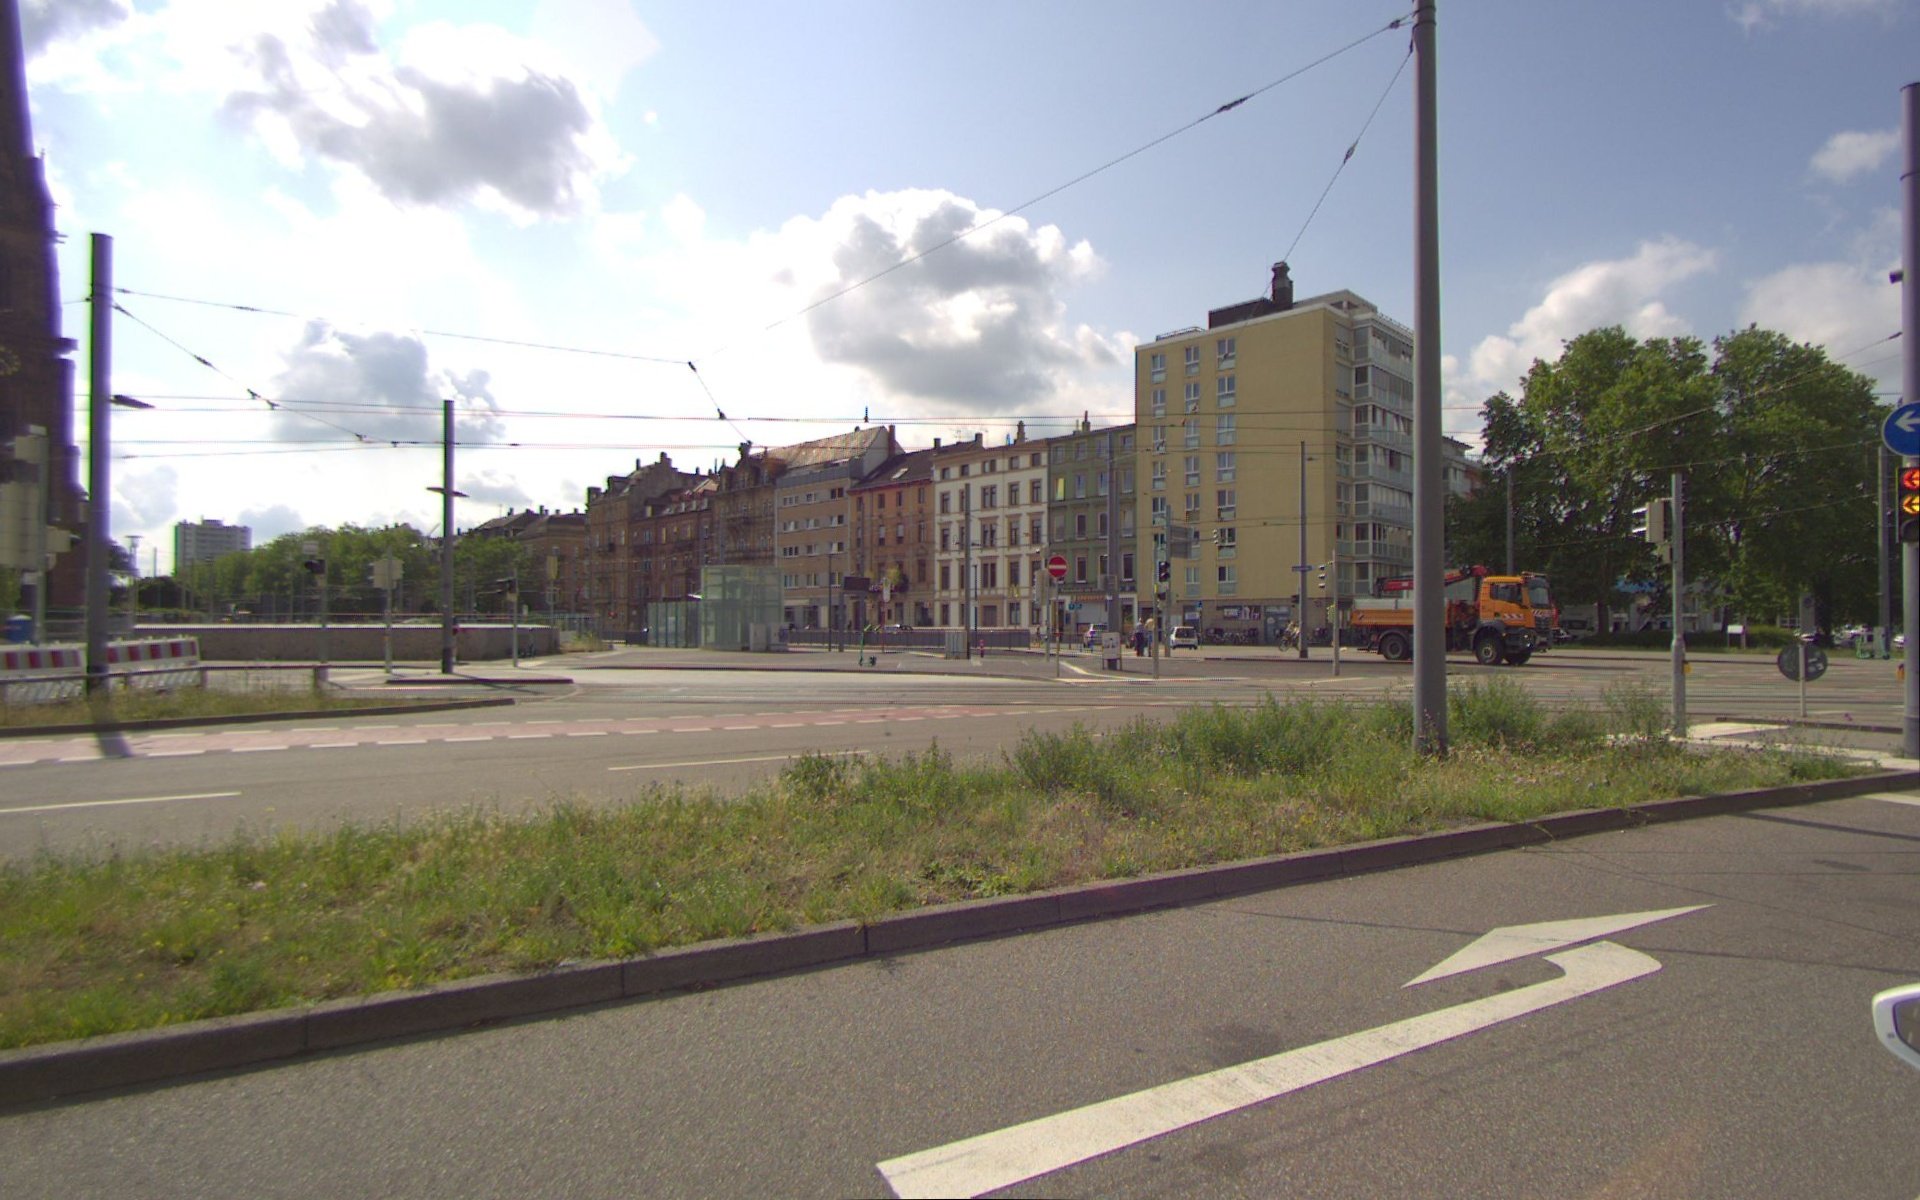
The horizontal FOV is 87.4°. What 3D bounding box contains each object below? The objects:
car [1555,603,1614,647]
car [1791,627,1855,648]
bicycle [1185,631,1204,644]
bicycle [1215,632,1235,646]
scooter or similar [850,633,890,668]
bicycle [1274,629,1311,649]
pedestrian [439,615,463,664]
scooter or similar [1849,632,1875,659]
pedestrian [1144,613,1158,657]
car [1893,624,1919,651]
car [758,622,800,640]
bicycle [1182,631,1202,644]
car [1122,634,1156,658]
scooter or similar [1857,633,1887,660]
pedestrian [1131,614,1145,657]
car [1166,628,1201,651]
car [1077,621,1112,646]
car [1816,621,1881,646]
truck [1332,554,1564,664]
[{"bbox_3d":[45.379,1.837,72.896,7.201,3.083,1.974,2,-2,-45],"label":"car"},{"bbox_3d":[71.402,3.074,83.164,1.652,1.508,3.655,1,1,-28],"label":"car"},{"bbox_3d":[17.377,2.765,74.533,1.444,0.935,0.291,0,-1,43],"label":"bicycle"},{"bbox_3d":[19.124,2.817,72.523,0.291,0.935,1.445,2,0,-44],"label":"bicycle"},{"bbox_3d":[-3.151,1.768,35.204,1.149,1.182,0.810,-1,-2,36],"label":"scooter or similar"},{"bbox_3d":[19.162,2.225,57.884,2.067,1.121,0.542,1,-1,-19],"label":"bicycle"},{"bbox_3d":[-19.319,1.493,38.108,0.551,1.818,0.720,0,-1,-2],"label":"pedestrian"},{"bbox_3d":[42.360,2.111,47.184,0.374,1.212,1.065,2,0,8],"label":"scooter or similar"},{"bbox_3d":[9.050,1.648,47.604,0.568,2.040,0.426,-1,-1,34],"label":"pedestrian"},{"bbox_3d":[77.802,3.089,81.789,3.964,2.040,1.979,2,1,-37],"label":"car"},{"bbox_3d":[-19.962,3.452,110.622,4.682,1.886,1.991,-2,-3,40],"label":"car"},{"bbox_3d":[17.162,2.771,74.300,1.443,0.935,0.291,1,-1,43],"label":"bicycle"},{"bbox_3d":[11.881,3.064,66.977,1.900,1.479,4.603,0,-2,6],"label":"car"},{"bbox_3d":[42.943,2.170,47.291,0.374,1.212,1.064,2,0,-2],"label":"scooter or similar"},{"bbox_3d":[8.572,1.707,48.244,0.507,2.040,0.502,-1,-1,34],"label":"pedestrian"},{"bbox_3d":[14.438,2.586,65.108,1.743,1.472,3.499,0,-3,5],"label":"car"},{"bbox_3d":[9.236,2.273,69.290,2.020,1.669,4.598,0,-1,3],"label":"car"},{"bbox_3d":[80.597,3.023,91.152,1.972,2.040,3.977,2,0,-23],"label":"car"},{"bbox_3d":[19.608,0.306,40.873,2.814,4.062,7.979,2,0,-39],"label":"truck"}]
